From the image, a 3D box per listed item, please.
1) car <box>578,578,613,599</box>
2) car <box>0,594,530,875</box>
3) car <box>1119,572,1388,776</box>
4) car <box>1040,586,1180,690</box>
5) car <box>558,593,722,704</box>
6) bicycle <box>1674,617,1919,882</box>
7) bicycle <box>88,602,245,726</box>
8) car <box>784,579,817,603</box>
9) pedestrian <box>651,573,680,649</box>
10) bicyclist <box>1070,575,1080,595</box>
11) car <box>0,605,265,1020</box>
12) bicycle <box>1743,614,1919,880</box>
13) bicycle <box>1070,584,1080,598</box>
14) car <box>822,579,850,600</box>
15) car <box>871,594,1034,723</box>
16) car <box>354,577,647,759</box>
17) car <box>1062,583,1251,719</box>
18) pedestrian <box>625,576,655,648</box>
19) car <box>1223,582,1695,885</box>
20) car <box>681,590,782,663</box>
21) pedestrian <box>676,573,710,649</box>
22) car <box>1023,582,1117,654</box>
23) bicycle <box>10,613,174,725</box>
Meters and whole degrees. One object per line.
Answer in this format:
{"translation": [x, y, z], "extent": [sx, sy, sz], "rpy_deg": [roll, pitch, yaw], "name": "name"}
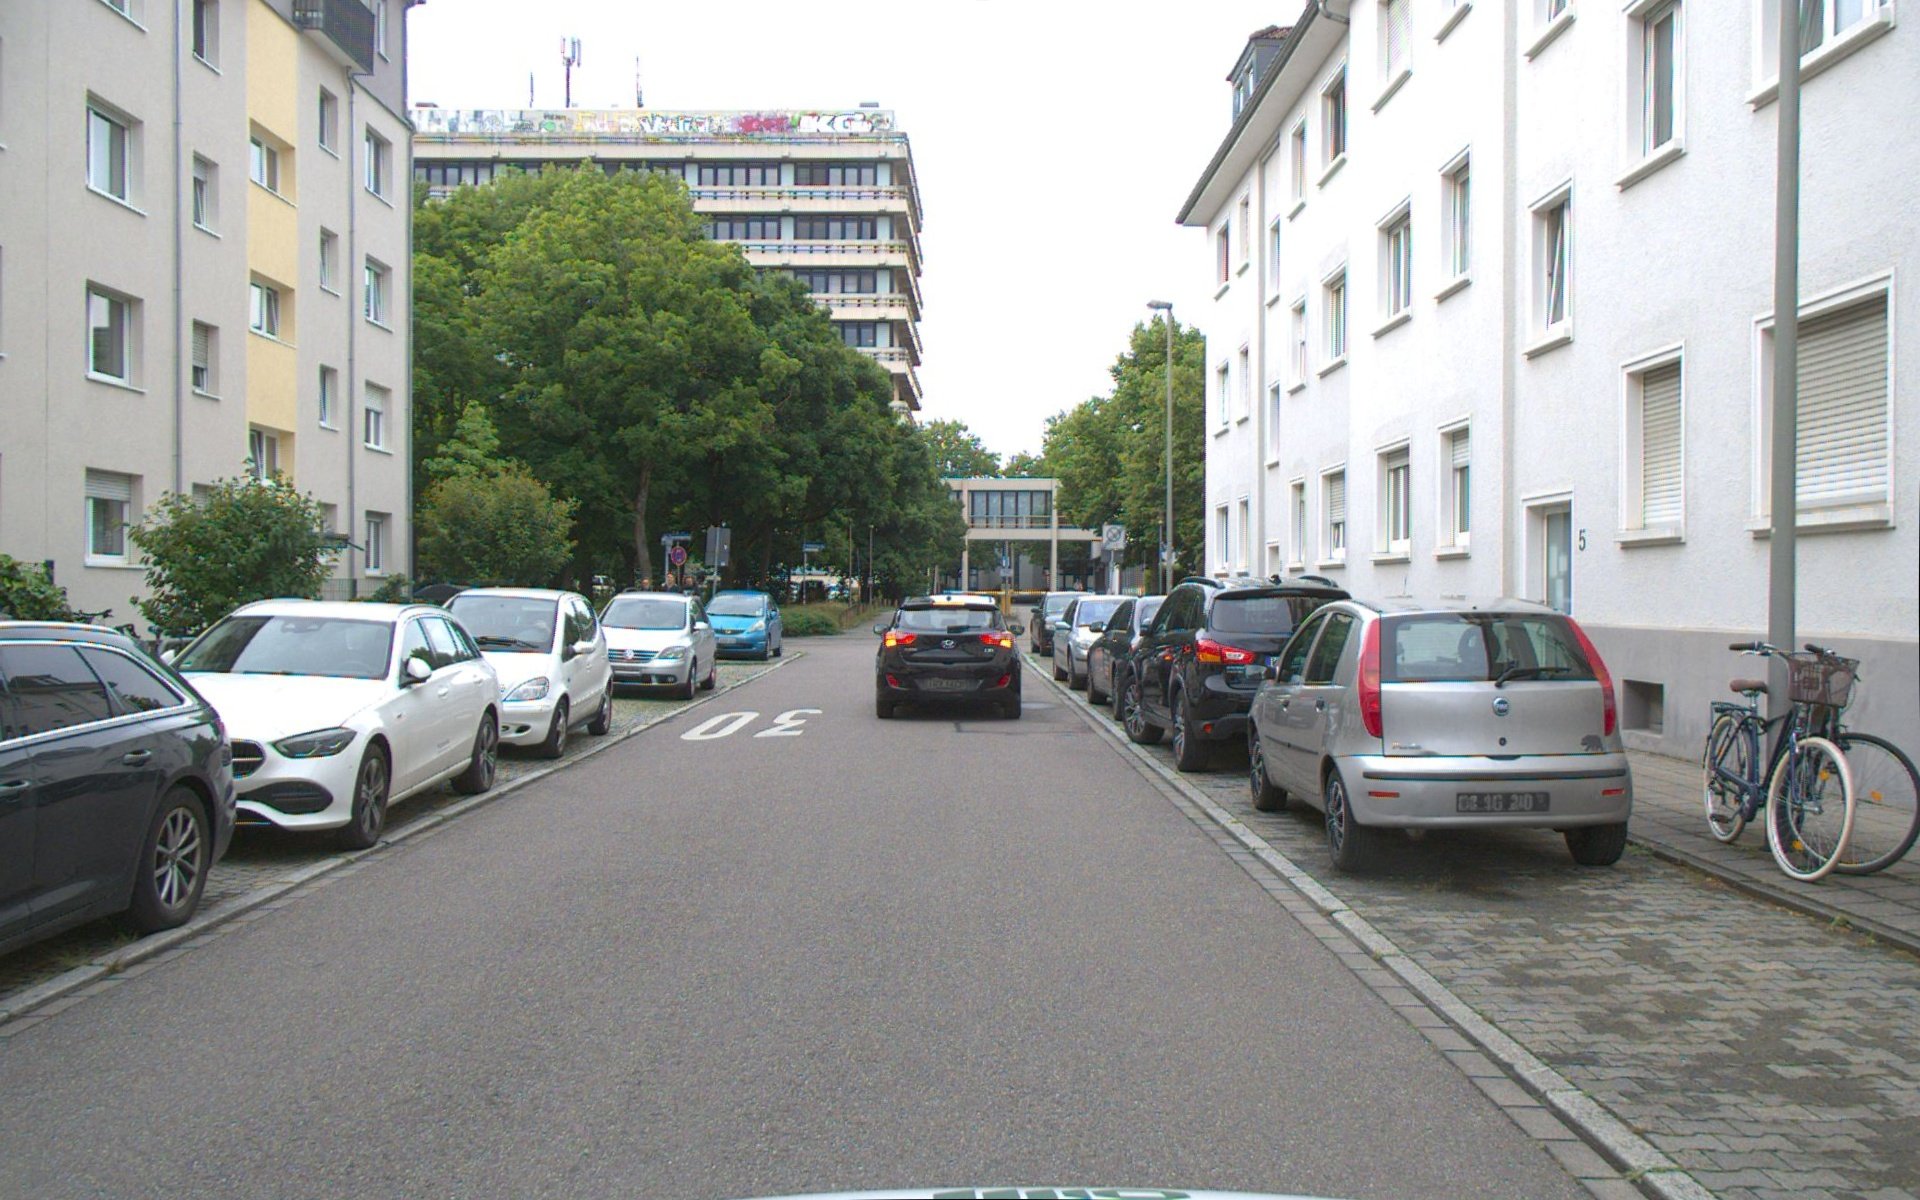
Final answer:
{"translation": [-24.269, -0.790, 110.189], "extent": [1.632, 1.356, 3.395], "rpy_deg": [0, 1, -1], "name": "car"}
{"translation": [-4.502, 0.743, 11.457], "extent": [1.856, 1.477, 4.520], "rpy_deg": [2, 0, -1], "name": "car"}
{"translation": [2.548, 0.573, 15.299], "extent": [1.783, 1.631, 4.091], "rpy_deg": [0, 0, 0], "name": "car"}
{"translation": [2.350, 0.542, 26.980], "extent": [1.783, 1.546, 4.672], "rpy_deg": [0, 0, -1], "name": "car"}
{"translation": [-4.921, 0.693, 25.948], "extent": [1.954, 1.568, 3.998], "rpy_deg": [1, 0, -3], "name": "car"}
{"translation": [4.410, 0.715, 8.772], "extent": [0.519, 1.196, 2.038], "rpy_deg": [-1, 0, 5], "name": "bicycle"}
{"translation": [-8.554, 0.656, 17.940], "extent": [0.716, 1.232, 2.090], "rpy_deg": [0, 1, -1], "name": "bicycle"}
{"translation": [-9.286, -0.535, 96.486], "extent": [1.632, 1.356, 3.395], "rpy_deg": [0, 1, -1], "name": "car"}
{"translation": [-7.320, 0.274, 41.109], "extent": [0.592, 1.863, 0.675], "rpy_deg": [0, 0, 1], "name": "pedestrian"}
{"translation": [8.464, -1.091, 121.809], "extent": [0.679, 1.469, 0.795], "rpy_deg": [0, 1, 0], "name": "bicyclist"}
{"translation": [-4.495, 0.797, 6.138], "extent": [1.856, 1.477, 4.666], "rpy_deg": [2, 0, -1], "name": "car"}
{"translation": [4.835, 0.697, 8.742], "extent": [0.564, 1.196, 2.038], "rpy_deg": [-1, 0, 5], "name": "bicycle"}
{"translation": [8.460, -0.637, 121.778], "extent": [0.678, 1.014, 1.735], "rpy_deg": [0, 1, 0], "name": "bicycle"}
{"translation": [-8.219, -0.696, 109.936], "extent": [1.632, 1.356, 3.395], "rpy_deg": [0, 1, -1], "name": "car"}
{"translation": [-0.086, 0.666, 21.187], "extent": [1.864, 1.458, 4.233], "rpy_deg": [0, 0, 0], "name": "car"}
{"translation": [-4.716, 0.619, 17.706], "extent": [1.856, 1.626, 4.520], "rpy_deg": [2, 0, -1], "name": "car"}
{"translation": [2.393, 0.558, 21.229], "extent": [1.783, 1.546, 4.672], "rpy_deg": [0, 0, -1], "name": "car"}
{"translation": [-7.822, 0.278, 40.409], "extent": [0.588, 1.743, 0.648], "rpy_deg": [0, 0, 1], "name": "pedestrian"}
{"translation": [2.910, 0.672, 10.610], "extent": [1.783, 1.529, 4.091], "rpy_deg": [-1, 0, 0], "name": "car"}
{"translation": [-5.233, 0.565, 38.327], "extent": [1.954, 1.568, 3.998], "rpy_deg": [1, 0, -3], "name": "car"}
{"translation": [-6.603, 0.264, 40.880], "extent": [0.699, 1.863, 0.797], "rpy_deg": [0, 0, 1], "name": "pedestrian"}
{"translation": [2.505, 0.380, 38.726], "extent": [1.783, 1.546, 4.672], "rpy_deg": [-1, 0, -1], "name": "car"}
{"translation": [-9.429, 0.719, 18.068], "extent": [0.716, 1.096, 2.090], "rpy_deg": [0, 1, -1], "name": "bicycle"}
